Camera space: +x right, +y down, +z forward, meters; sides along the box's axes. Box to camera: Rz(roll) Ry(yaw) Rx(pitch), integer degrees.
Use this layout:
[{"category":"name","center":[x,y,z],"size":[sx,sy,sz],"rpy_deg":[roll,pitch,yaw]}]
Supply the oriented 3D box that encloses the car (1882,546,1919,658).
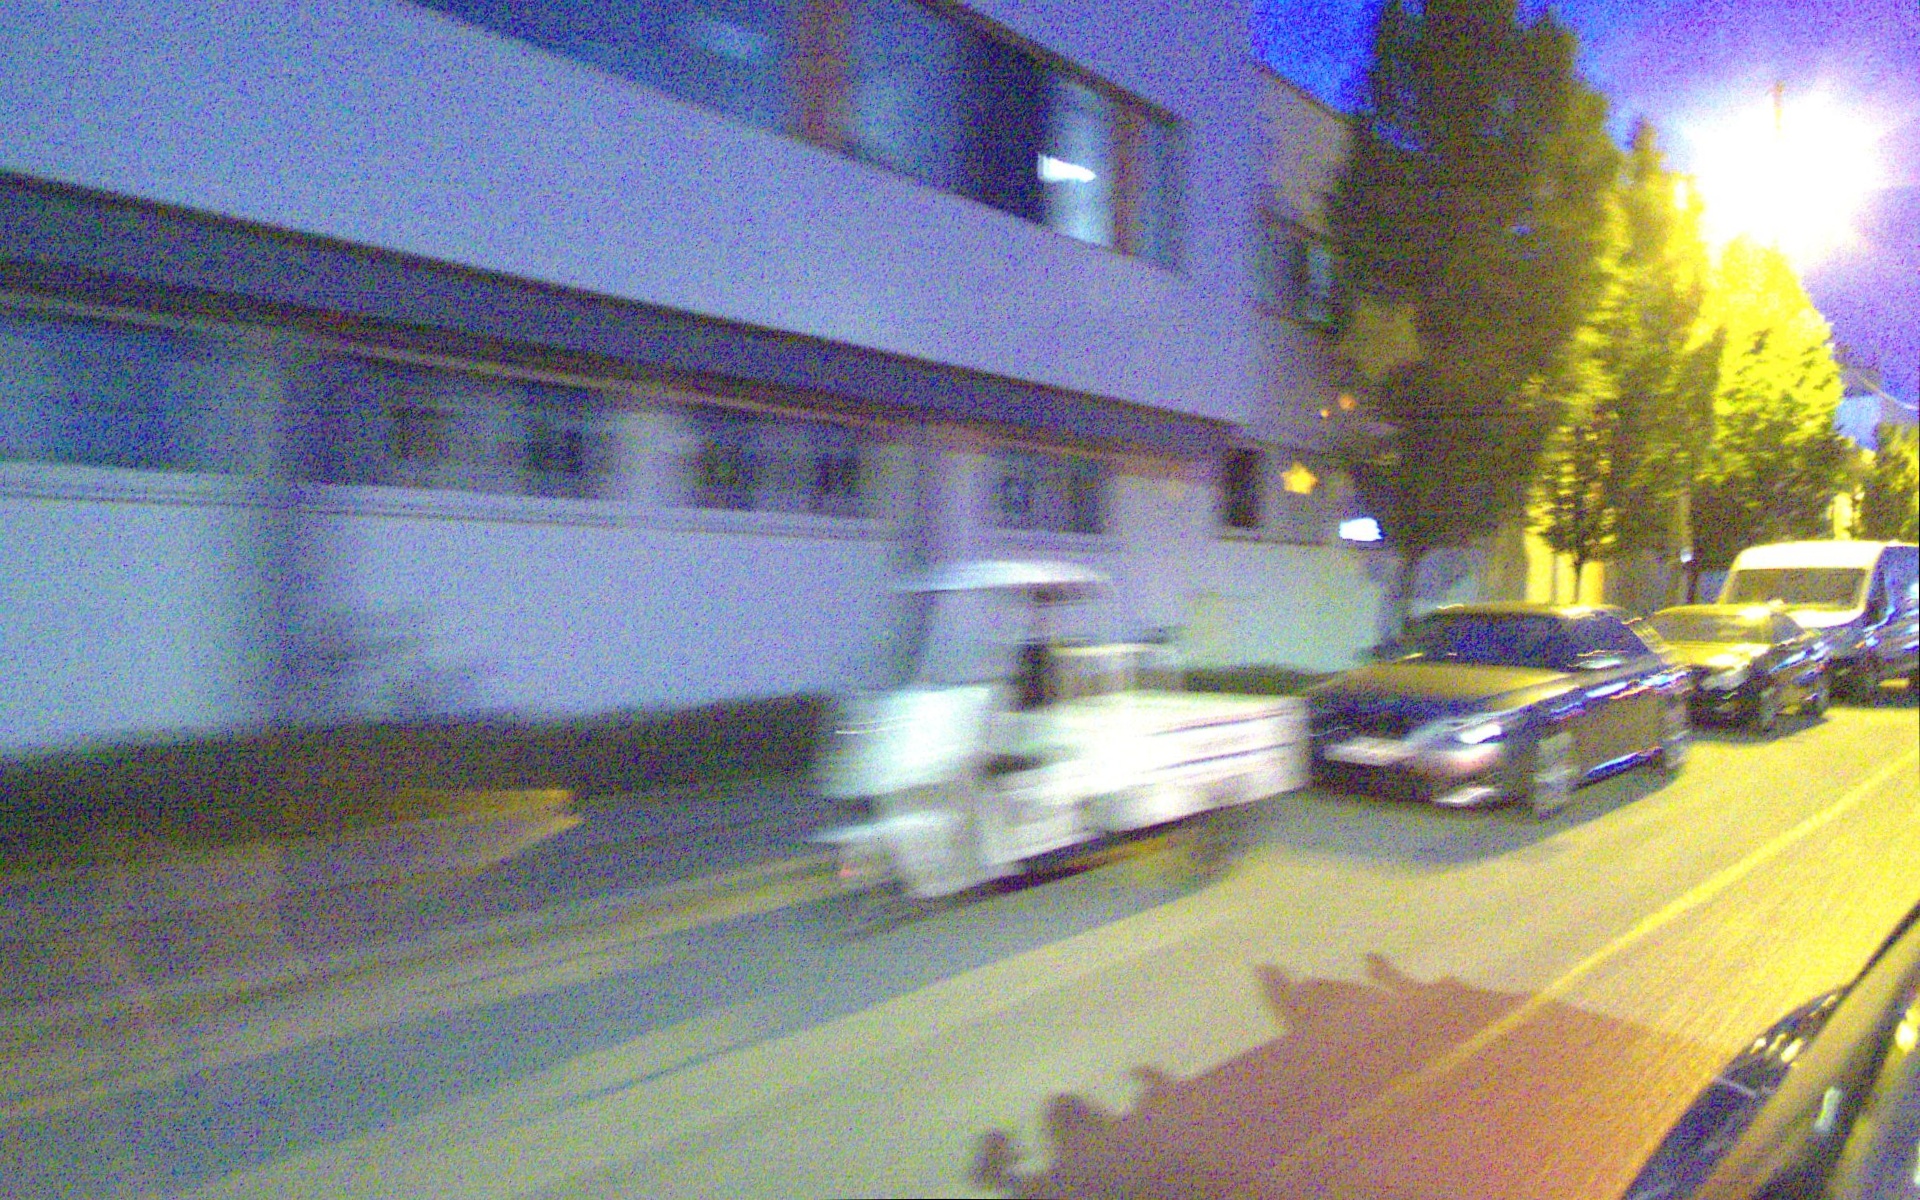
[{"category":"car","center":[24.869,0.053,25.310],"size":[5.808,2.604,2.130],"rpy_deg":[0,-2,-43]}]

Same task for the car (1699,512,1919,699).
[{"category":"car","center":[14.262,0.097,16.360],"size":[5.798,2.558,1.999],"rpy_deg":[0,-2,-36]}]

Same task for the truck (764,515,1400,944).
[{"category":"truck","center":[0.903,0.481,5.678],"size":[3.745,1.665,1.373],"rpy_deg":[0,1,-41]}]

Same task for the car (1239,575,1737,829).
[{"category":"car","center":[4.599,0.605,8.419],"size":[4.921,1.508,1.950],"rpy_deg":[0,1,-40]}]

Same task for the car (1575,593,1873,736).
[{"category":"car","center":[9.452,0.667,12.397],"size":[4.466,1.430,1.774],"rpy_deg":[0,1,-37]}]
